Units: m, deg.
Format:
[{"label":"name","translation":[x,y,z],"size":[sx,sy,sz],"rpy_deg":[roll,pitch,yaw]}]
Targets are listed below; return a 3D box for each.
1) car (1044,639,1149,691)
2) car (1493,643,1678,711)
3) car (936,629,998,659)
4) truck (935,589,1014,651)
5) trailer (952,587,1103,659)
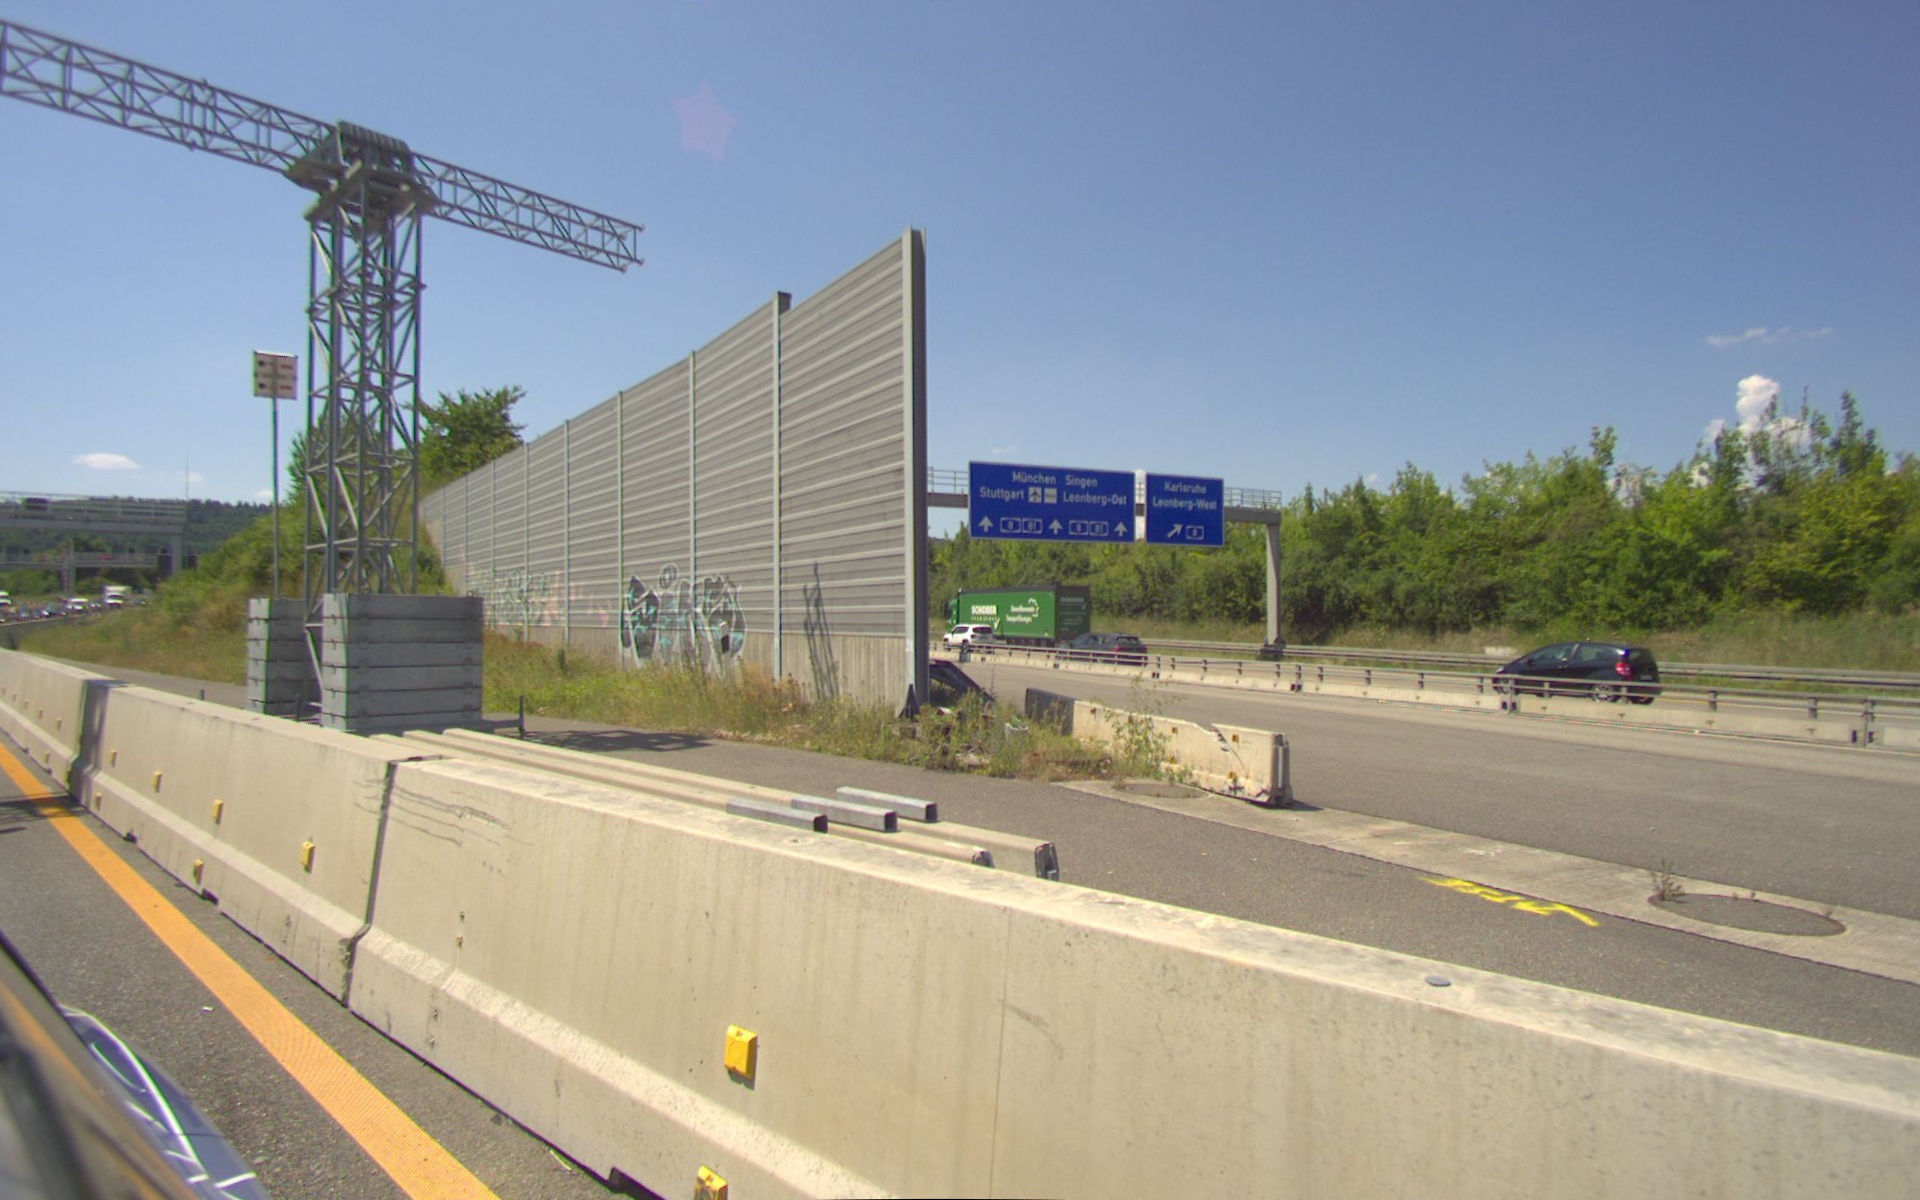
[{"label":"car","translation":[5.174,2.450,38.929],"size":[1.674,1.743,4.465],"rpy_deg":[1,-1,-29]},{"label":"car","translation":[16.070,1.921,26.167],"size":[1.692,1.502,3.699],"rpy_deg":[1,-1,-30]},{"label":"car","translation":[0.364,2.501,58.332],"size":[1.692,1.636,4.183],"rpy_deg":[0,-1,-29]},{"label":"truck","translation":[0.963,1.404,73.723],"size":[3.496,4.302,5.798],"rpy_deg":[0,0,-26]},{"label":"trailer","translation":[4.074,1.403,67.360],"size":[3.496,4.302,13.954],"rpy_deg":[0,0,-26]}]
